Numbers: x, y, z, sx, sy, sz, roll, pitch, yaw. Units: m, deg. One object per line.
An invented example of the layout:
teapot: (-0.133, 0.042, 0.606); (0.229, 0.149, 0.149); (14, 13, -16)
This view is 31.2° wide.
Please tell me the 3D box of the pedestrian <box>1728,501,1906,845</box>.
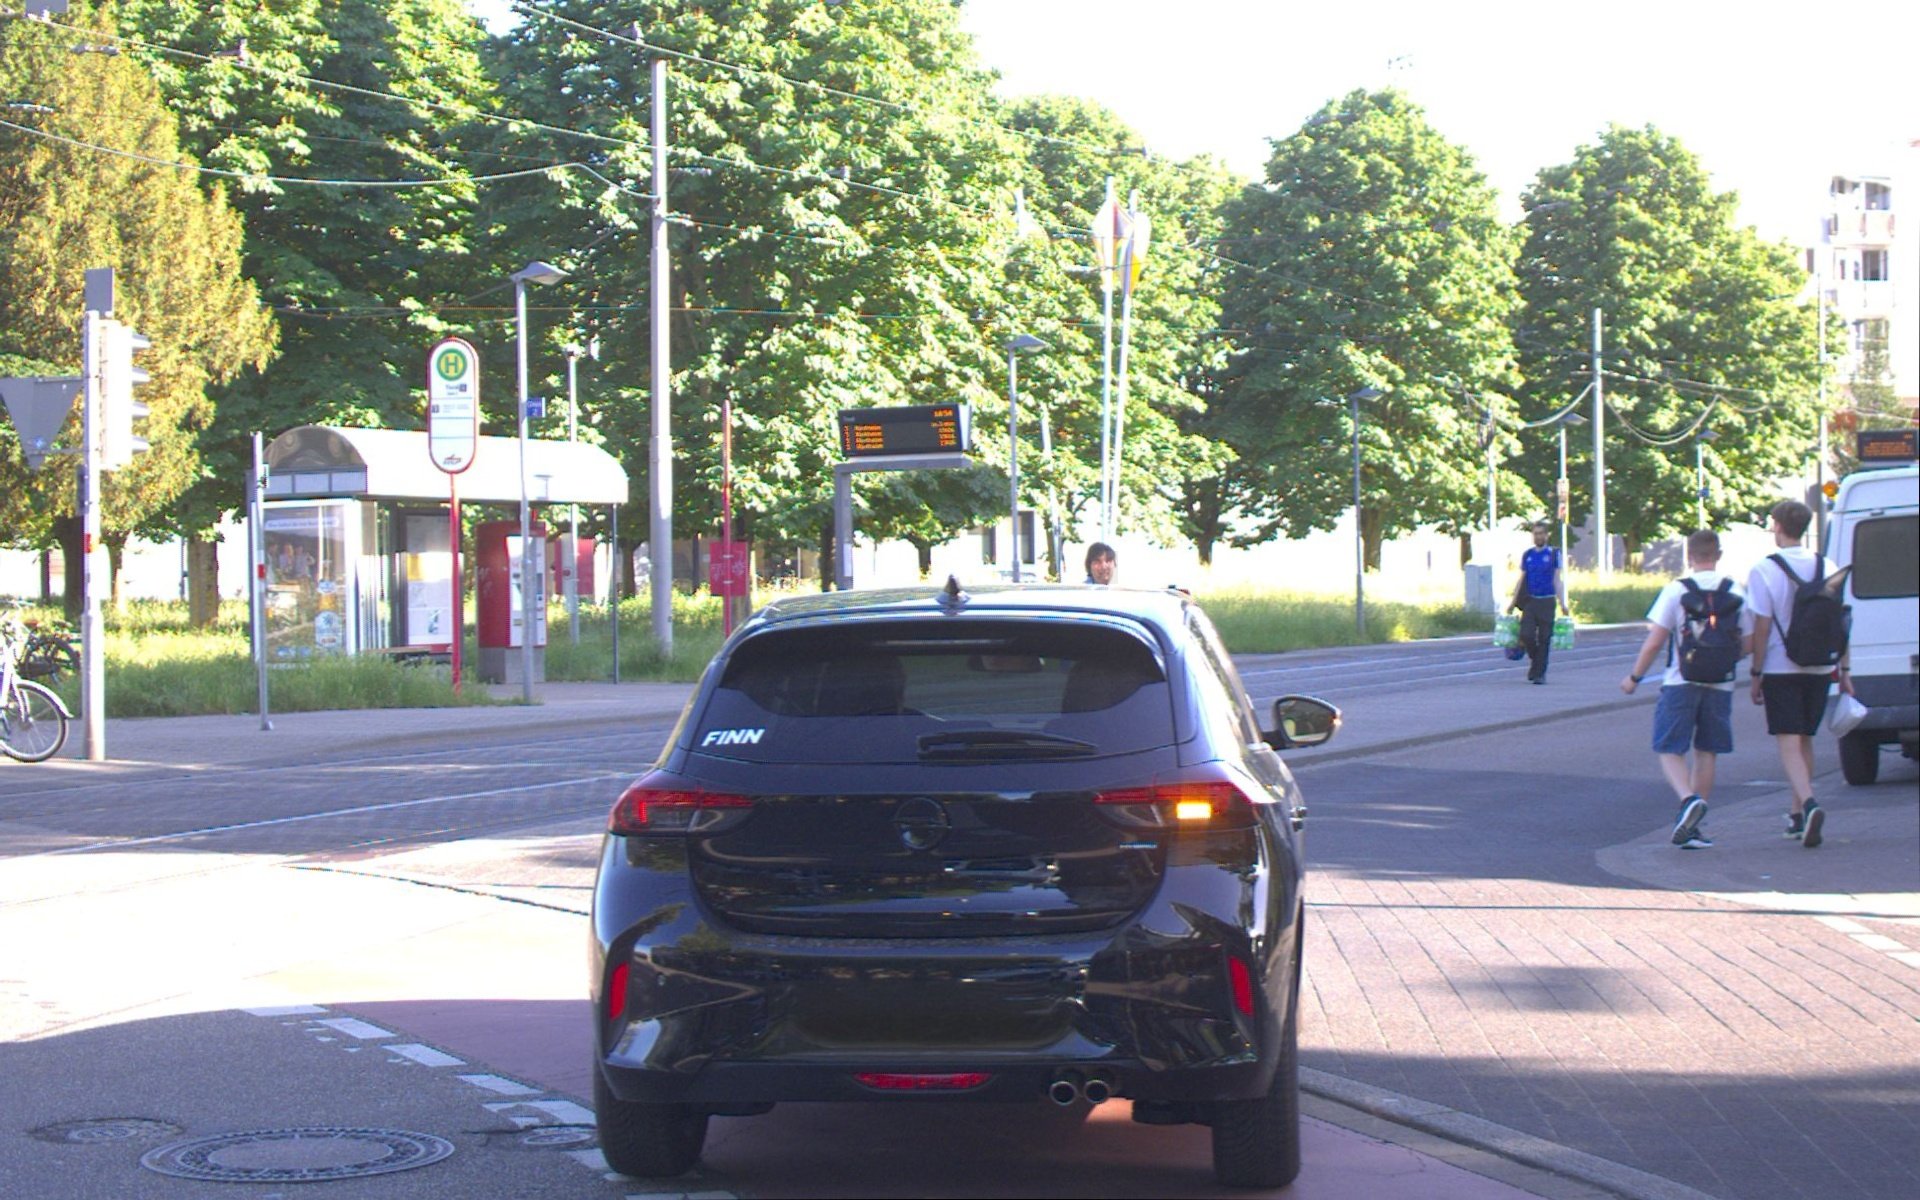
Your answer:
pedestrian: (4.711, 0.384, 18.894); (0.704, 1.840, 0.699); (0, 1, 39)

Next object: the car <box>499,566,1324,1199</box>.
car: (0.084, 0.645, 9.470); (1.801, 1.436, 3.939); (-1, 1, 6)

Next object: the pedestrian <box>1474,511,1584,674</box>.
pedestrian: (6.323, -0.086, 38.173); (0.959, 1.787, 0.994); (0, 0, 25)

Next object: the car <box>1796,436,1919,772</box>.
car: (7.543, 0.041, 25.078); (2.092, 2.270, 4.300); (1, 0, 23)

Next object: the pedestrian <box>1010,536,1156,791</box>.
pedestrian: (0.834, 0.417, 23.195); (0.727, 1.687, 0.699); (0, 1, 29)

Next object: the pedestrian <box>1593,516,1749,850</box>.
pedestrian: (3.876, 0.440, 18.764); (0.698, 1.786, 0.617); (-1, 1, -1)

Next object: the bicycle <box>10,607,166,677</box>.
bicycle: (-11.519, 0.552, 45.450); (1.877, 0.903, 0.659); (0, 1, 6)

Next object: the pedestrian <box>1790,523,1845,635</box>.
pedestrian: (13.795, -0.343, 55.313); (0.679, 1.787, 0.994); (0, 0, 25)

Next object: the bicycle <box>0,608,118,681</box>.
bicycle: (-11.705, 0.564, 43.606); (1.877, 0.903, 0.659); (0, 1, 6)

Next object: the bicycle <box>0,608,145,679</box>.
bicycle: (-11.572, 0.561, 44.478); (1.877, 0.903, 0.659); (0, 1, 6)

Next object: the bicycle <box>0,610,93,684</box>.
bicycle: (-11.783, 0.582, 42.620); (1.877, 0.903, 0.659); (0, 1, 6)

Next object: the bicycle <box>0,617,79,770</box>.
bicycle: (-7.200, 0.676, 25.445); (0.825, 1.056, 1.883); (0, 1, 2)
